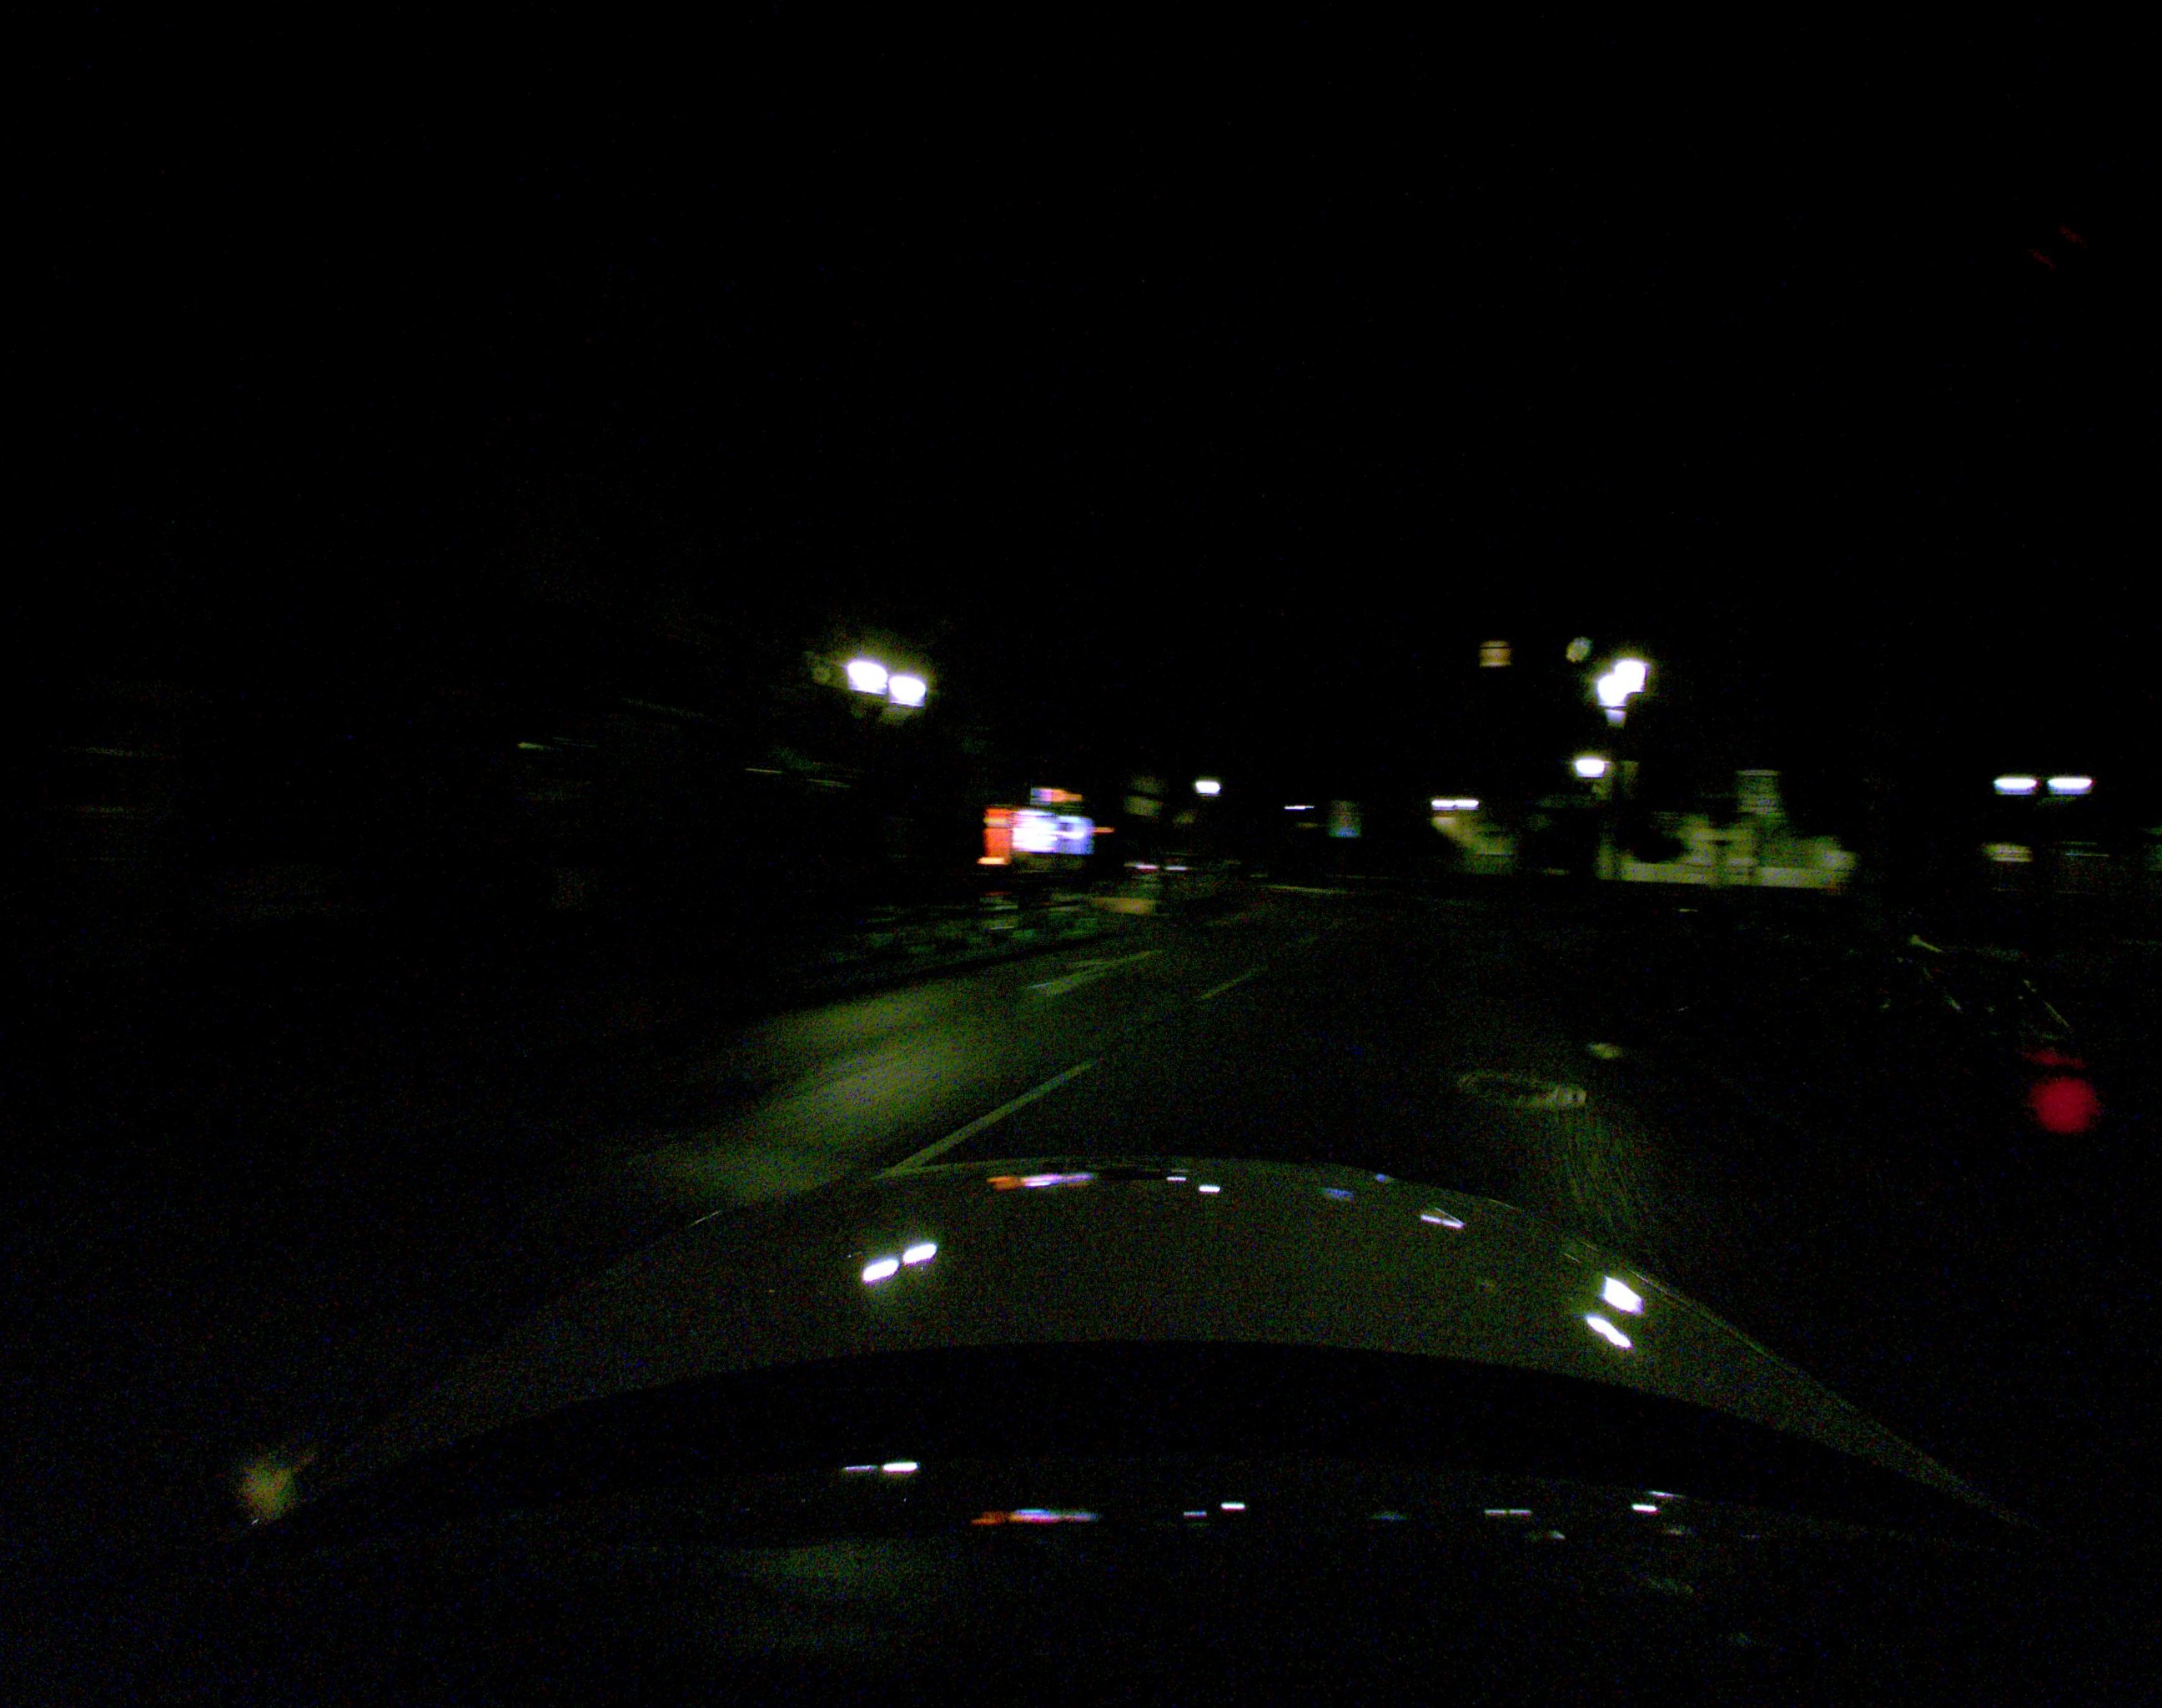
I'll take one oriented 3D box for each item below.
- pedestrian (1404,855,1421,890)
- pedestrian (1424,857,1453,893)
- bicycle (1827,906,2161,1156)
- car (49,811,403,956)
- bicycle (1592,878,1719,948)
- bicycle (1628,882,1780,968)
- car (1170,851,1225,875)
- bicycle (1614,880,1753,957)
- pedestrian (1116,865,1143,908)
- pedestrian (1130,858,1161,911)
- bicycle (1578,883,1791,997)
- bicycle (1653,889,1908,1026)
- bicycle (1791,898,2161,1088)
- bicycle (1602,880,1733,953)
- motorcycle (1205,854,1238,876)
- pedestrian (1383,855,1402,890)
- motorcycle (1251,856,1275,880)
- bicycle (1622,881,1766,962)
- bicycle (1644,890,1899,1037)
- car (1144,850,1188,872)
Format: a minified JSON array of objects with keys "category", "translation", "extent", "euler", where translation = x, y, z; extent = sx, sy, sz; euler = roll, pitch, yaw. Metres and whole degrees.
[{"category":"pedestrian","translation":[16.760,0.929,41.215],"extent":[0.478,1.709,0.567],"euler":[2,0,-21]},{"category":"pedestrian","translation":[16.855,0.997,38.354],"extent":[0.814,1.631,0.955],"euler":[3,0,-42]},{"category":"bicycle","translation":[5.356,0.923,4.478],"extent":[1.641,1.141,0.832],"euler":[2,0,21]},{"category":"car","translation":[-11.016,0.287,10.508],"extent":[3.952,1.526,1.830],"euler":[2,0,23]},{"category":"bicycle","translation":[10.644,1.074,15.161],"extent":[1.767,1.151,0.764],"euler":[2,0,20]},{"category":"bicycle","translation":[9.535,1.056,12.542],"extent":[1.755,1.151,0.586],"euler":[2,0,27]},{"category":"car","translation":[8.097,0.617,56.864],"extent":[1.739,1.501,4.434],"euler":[2,0,-22]},{"category":"bicycle","translation":[10.110,1.061,13.728],"extent":[1.757,1.151,0.585],"euler":[2,0,20]},{"category":"pedestrian","translation":[1.349,0.894,22.668],"extent":[0.570,1.164,0.681],"euler":[2,0,18]},{"category":"pedestrian","translation":[1.728,0.819,21.874],"extent":[0.670,1.378,0.579],"euler":[2,0,18]},{"category":"bicycle","translation":[6.969,0.955,9.522],"extent":[1.849,1.134,0.729],"euler":[2,0,20]},{"category":"bicycle","translation":[6.787,0.965,8.008],"extent":[1.773,1.134,0.632],"euler":[2,0,20]},{"category":"bicycle","translation":[6.551,0.962,6.065],"extent":[1.754,1.141,0.690],"euler":[2,0,21]},{"category":"bicycle","translation":[10.338,1.075,14.431],"extent":[1.757,1.151,0.617],"euler":[2,0,20]},{"category":"motorcycle","translation":[9.409,0.701,54.361],"extent":[2.066,1.406,0.915],"euler":[0,1,-31]},{"category":"pedestrian","translation":[15.377,0.914,40.195],"extent":[0.508,1.709,0.700],"euler":[2,0,-21]},{"category":"motorcycle","translation":[11.060,0.845,49.356],"extent":[0.753,1.353,1.957],"euler":[2,1,33]},{"category":"bicycle","translation":[9.813,1.058,13.114],"extent":[1.755,1.151,0.586],"euler":[2,0,27]},{"category":"bicycle","translation":[6.244,0.953,7.471],"extent":[1.640,1.134,0.646],"euler":[2,0,21]},{"category":"car","translation":[6.417,0.507,61.709],"extent":[1.742,1.454,3.975],"euler":[2,1,-19]}]
